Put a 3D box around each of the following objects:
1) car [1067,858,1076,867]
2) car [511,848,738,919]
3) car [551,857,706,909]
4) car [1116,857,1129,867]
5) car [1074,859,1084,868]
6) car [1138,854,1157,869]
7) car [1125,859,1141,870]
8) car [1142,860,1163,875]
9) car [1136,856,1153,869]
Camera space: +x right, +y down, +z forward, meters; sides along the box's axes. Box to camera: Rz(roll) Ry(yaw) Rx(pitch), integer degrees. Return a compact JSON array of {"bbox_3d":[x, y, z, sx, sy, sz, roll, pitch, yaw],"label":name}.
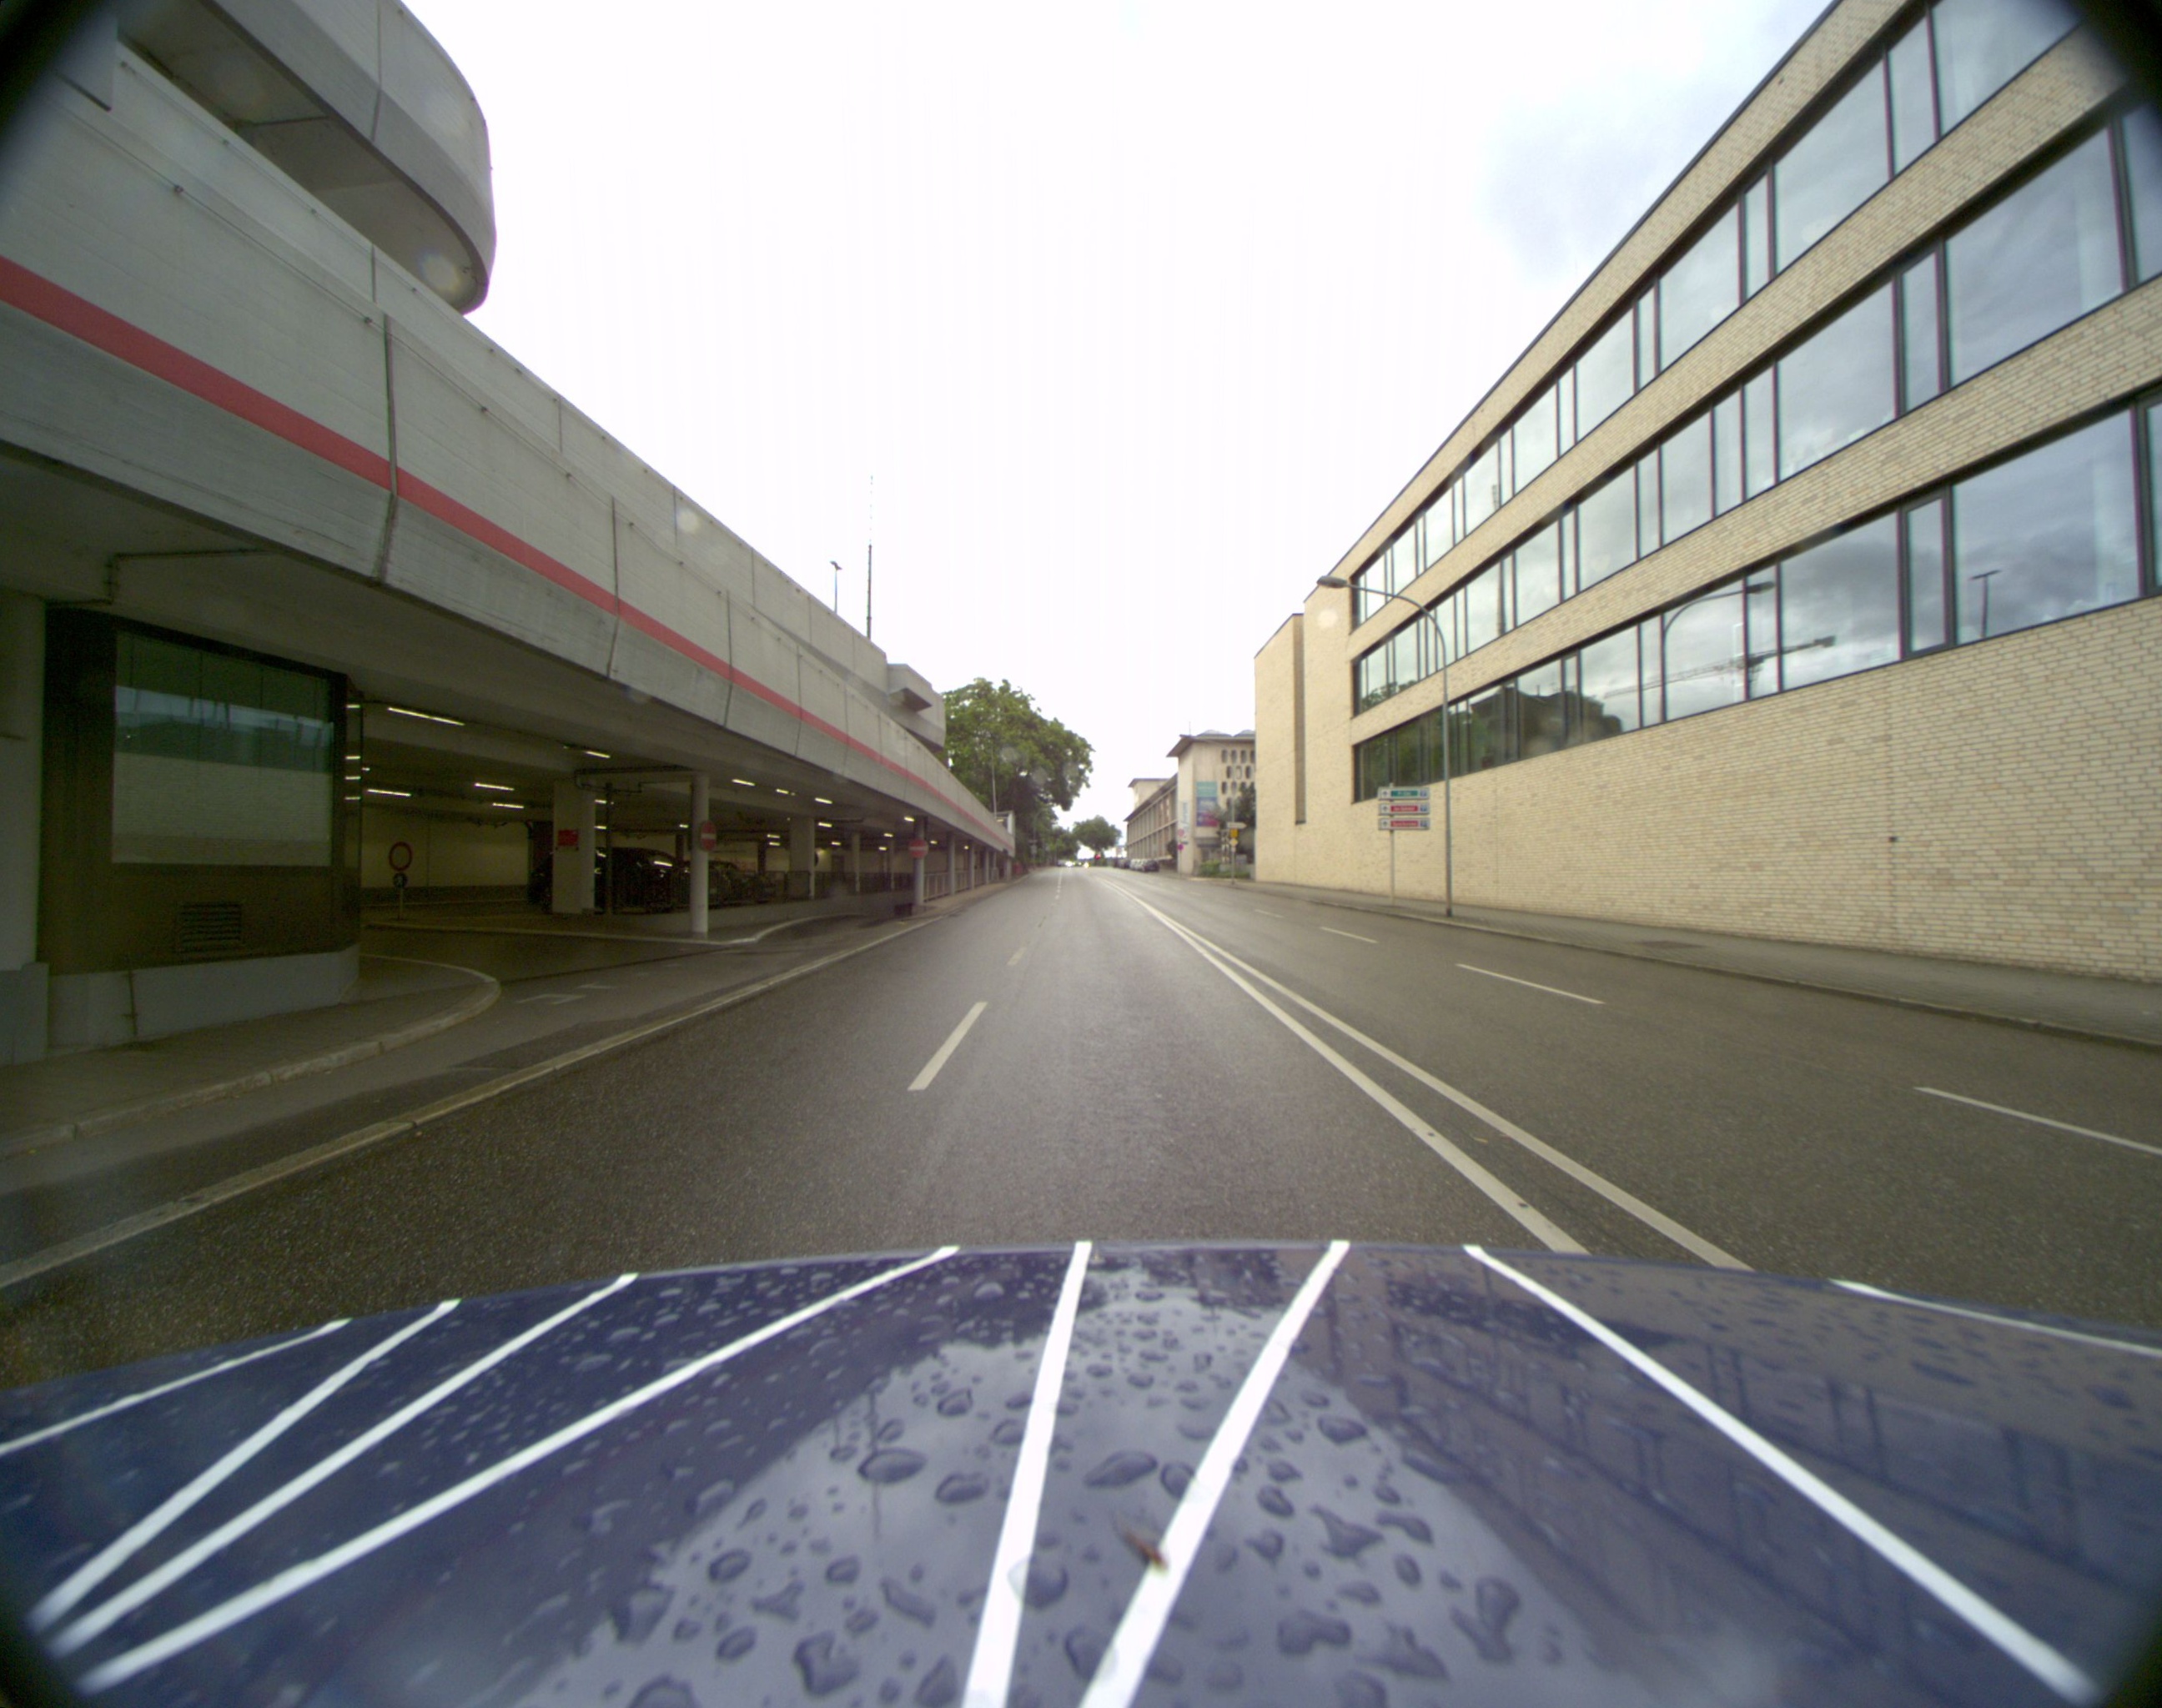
[{"bbox_3d":[-2.323,1.968,182.748,1.998,2.002,3.999,-2,1,1],"label":"car"},{"bbox_3d":[-11.193,0.705,18.806,4.585,1.630,1.823,-1,0,6],"label":"car"},{"bbox_3d":[-13.760,0.875,23.236,3.730,1.496,1.808,0,-1,7],"label":"car"},{"bbox_3d":[7.845,1.484,142.703,1.999,1.637,3.998,-3,2,-2],"label":"car"},{"bbox_3d":[-0.473,2.112,173.880,1.806,2.002,3.997,-2,1,-6],"label":"car"},{"bbox_3d":[8.417,0.925,96.494,1.999,1.632,3.999,-2,1,-1],"label":"car"},{"bbox_3d":[8.329,1.669,121.758,1.999,1.702,3.999,-3,1,-1],"label":"car"},{"bbox_3d":[8.552,1.616,91.064,1.999,1.520,3.999,-2,1,-2],"label":"car"},{"bbox_3d":[8.482,1.139,102.051,1.998,1.502,4.002,-2,-2,0],"label":"car"}]
